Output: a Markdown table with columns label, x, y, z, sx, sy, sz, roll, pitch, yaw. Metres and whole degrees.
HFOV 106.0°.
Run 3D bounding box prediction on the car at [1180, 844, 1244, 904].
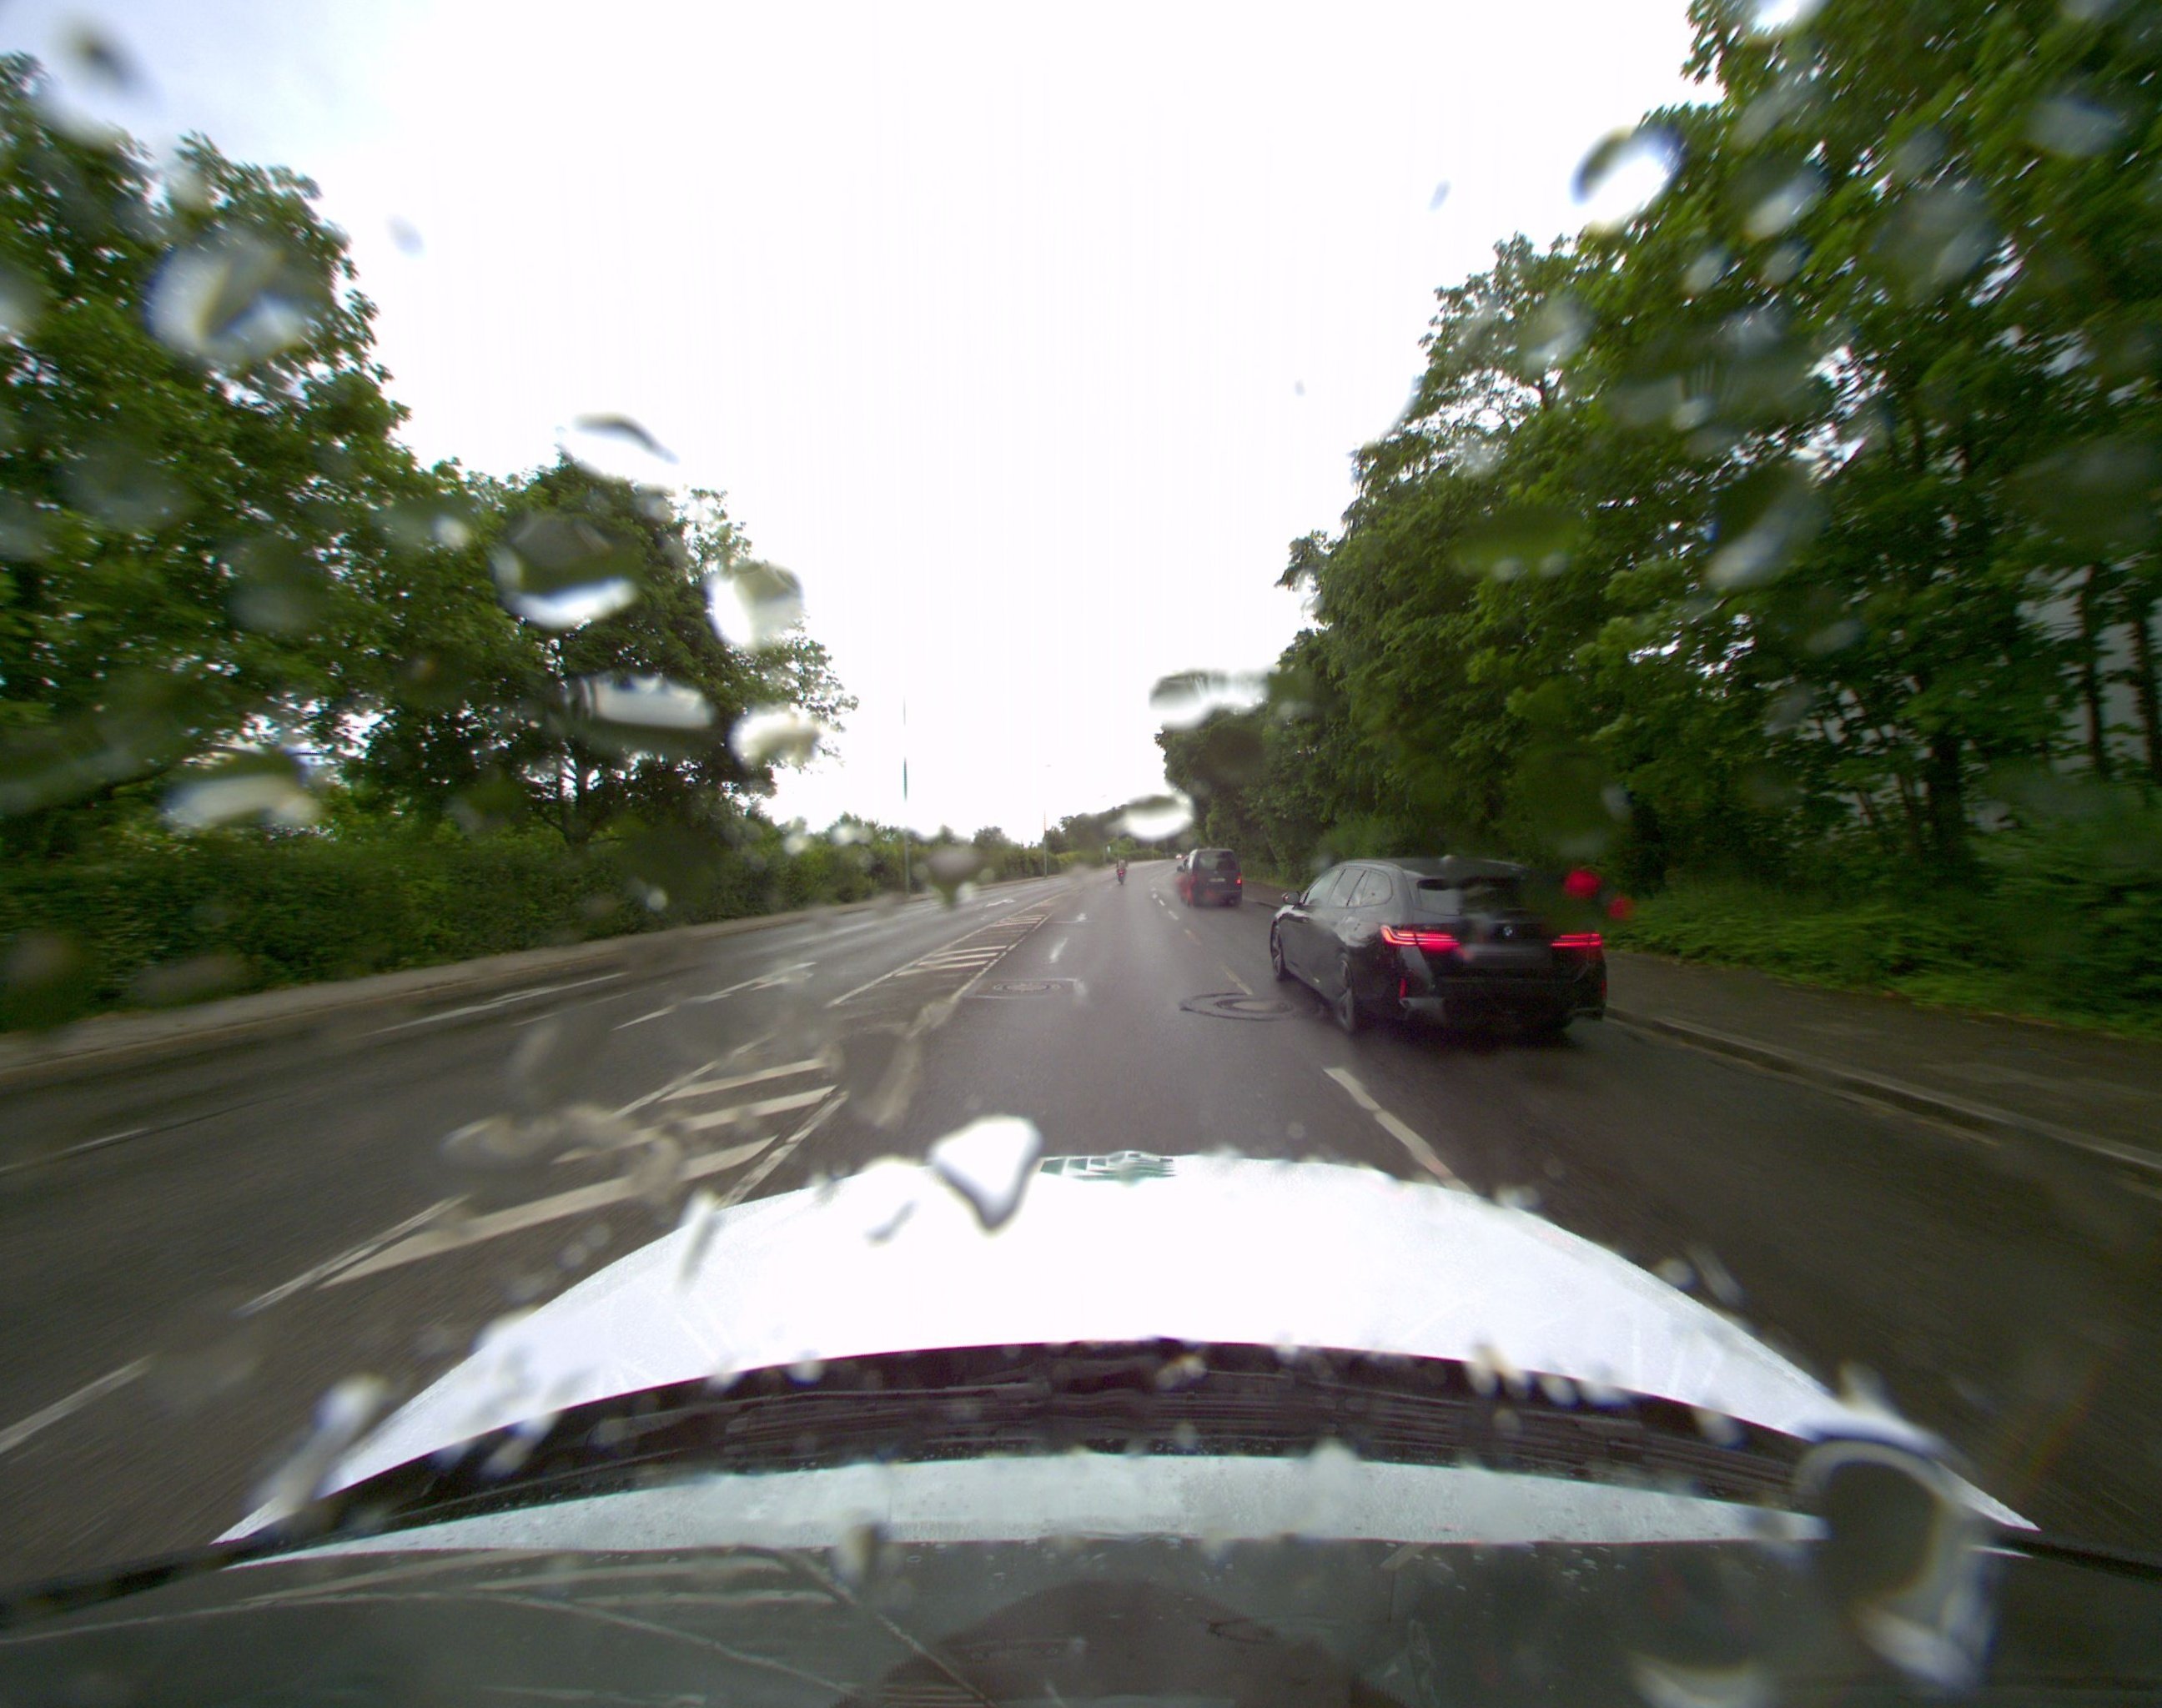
| label | x | y | z | sx | sy | sz | roll | pitch | yaw |
| --- | --- | --- | --- | --- | --- | --- | --- | --- | --- |
| car | 4.301 | 0.587 | 27.211 | 1.759 | 1.810 | 3.910 | -1 | 1 | 4 |

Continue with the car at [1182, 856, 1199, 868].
| label | x | y | z | sx | sy | sz | roll | pitch | yaw |
| --- | --- | --- | --- | --- | --- | --- | --- | --- | --- |
| car | 14.847 | 1.115 | 110.462 | 2.002 | 1.415 | 4.499 | -1 | 1 | 10 |

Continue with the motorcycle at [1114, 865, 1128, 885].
| label | x | y | z | sx | sy | sz | roll | pitch | yaw |
| --- | --- | --- | --- | --- | --- | --- | --- | --- | --- |
| motorcycle | 2.401 | 1.248 | 48.611 | 0.737 | 1.119 | 1.429 | -1 | 1 | 5 |

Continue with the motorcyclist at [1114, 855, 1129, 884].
| label | x | y | z | sx | sy | sz | roll | pitch | yaw |
| --- | --- | --- | --- | --- | --- | --- | --- | --- | --- |
| motorcyclist | 2.392 | 0.923 | 48.429 | 0.841 | 1.647 | 0.468 | -1 | 1 | 5 |

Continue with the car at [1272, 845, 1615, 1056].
| label | x | y | z | sx | sy | sz | roll | pitch | yaw |
| --- | --- | --- | --- | --- | --- | --- | --- | --- | --- |
| car | 3.108 | 0.729 | 7.861 | 1.758 | 1.536 | 3.673 | 0 | -1 | 1 |
